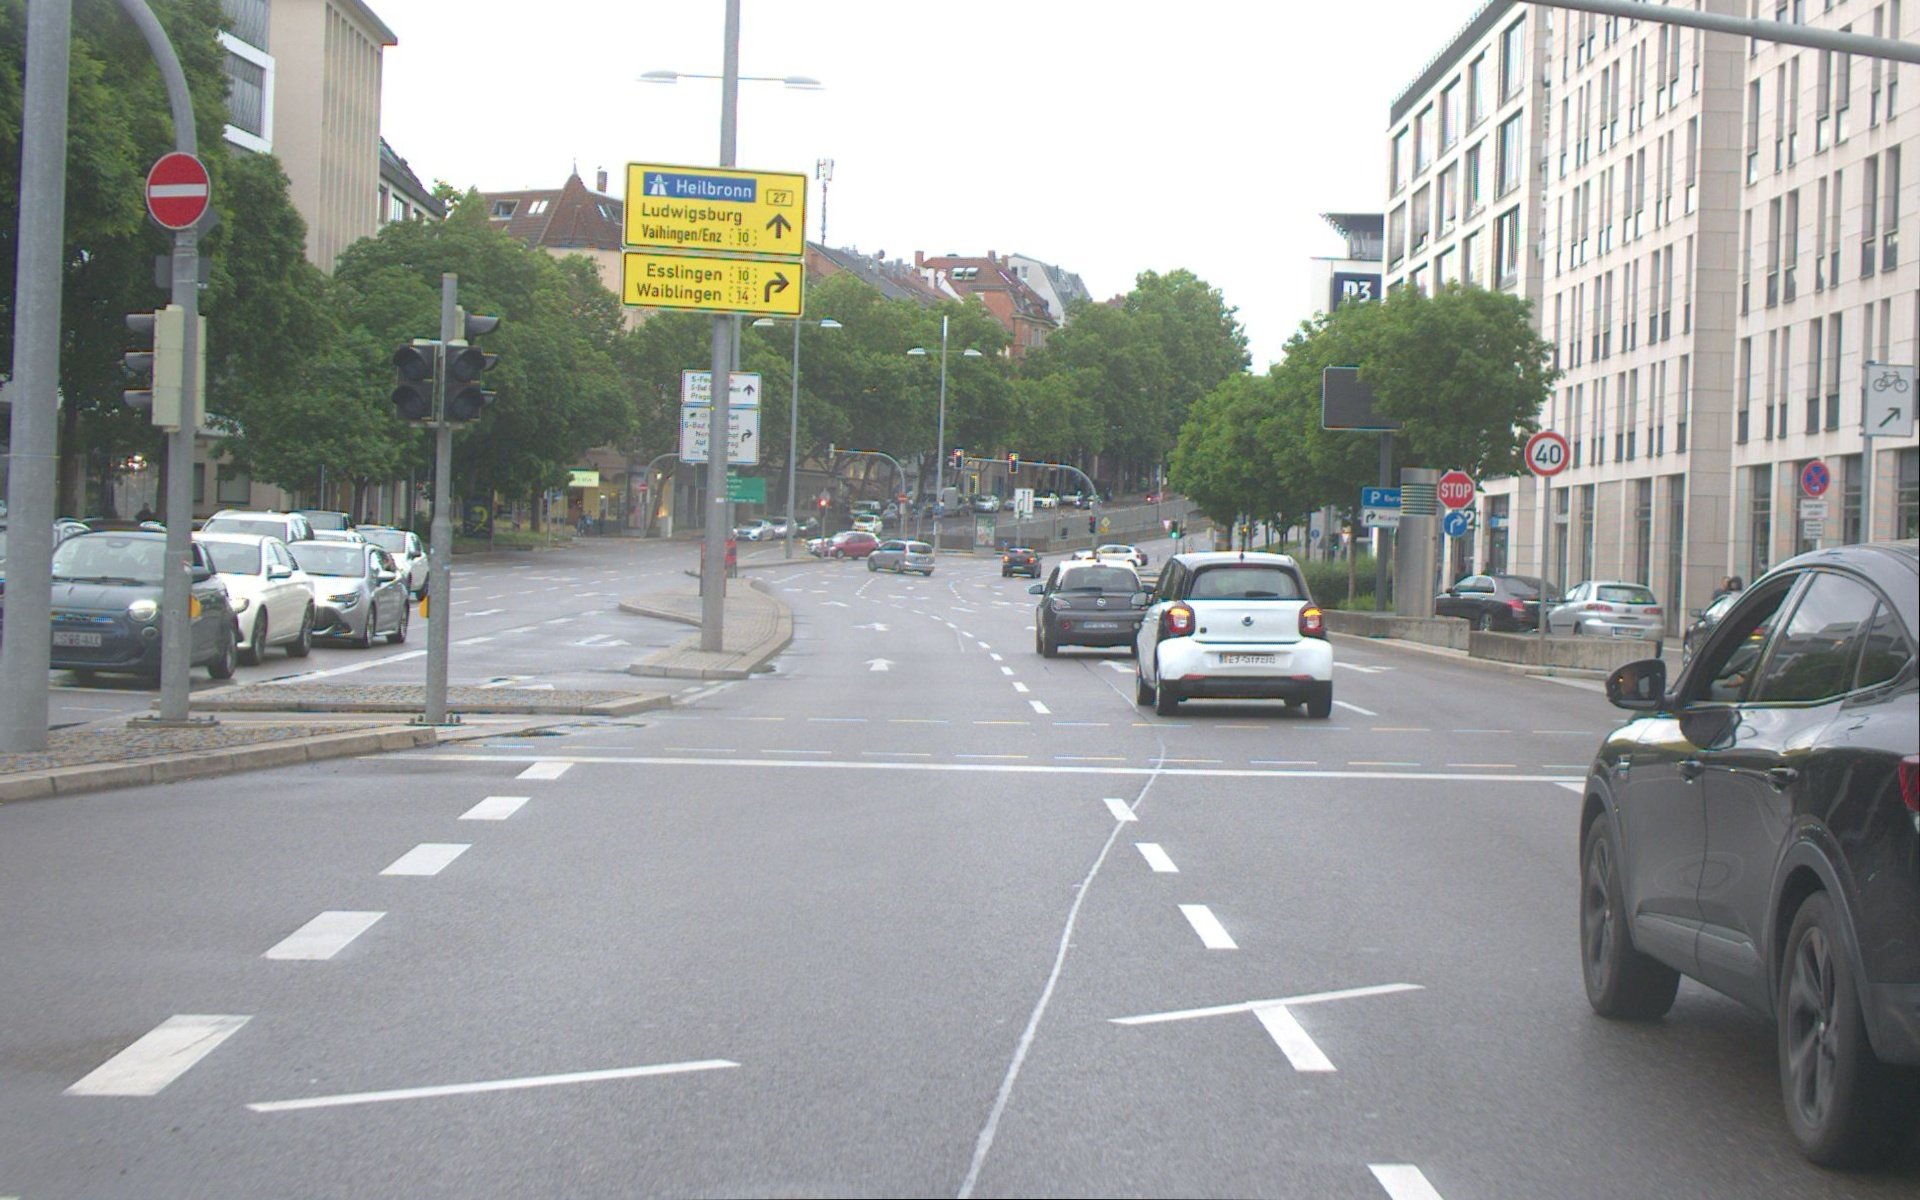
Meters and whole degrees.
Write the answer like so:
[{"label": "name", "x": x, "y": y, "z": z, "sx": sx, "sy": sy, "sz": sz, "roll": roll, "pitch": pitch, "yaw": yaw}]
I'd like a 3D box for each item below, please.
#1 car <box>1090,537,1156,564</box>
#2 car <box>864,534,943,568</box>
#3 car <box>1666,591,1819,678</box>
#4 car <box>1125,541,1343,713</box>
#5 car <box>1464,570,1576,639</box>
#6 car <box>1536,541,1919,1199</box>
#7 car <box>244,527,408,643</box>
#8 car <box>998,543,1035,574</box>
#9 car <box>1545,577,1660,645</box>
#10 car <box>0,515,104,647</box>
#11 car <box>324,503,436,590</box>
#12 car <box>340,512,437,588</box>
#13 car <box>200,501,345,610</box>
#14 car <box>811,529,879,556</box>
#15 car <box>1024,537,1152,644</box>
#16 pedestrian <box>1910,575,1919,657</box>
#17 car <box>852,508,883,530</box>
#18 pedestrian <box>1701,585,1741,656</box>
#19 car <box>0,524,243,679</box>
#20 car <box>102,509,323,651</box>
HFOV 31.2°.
[{"label": "car", "x": 9.741, "y": -2.937, "z": 205.320, "sx": 3.803, "sy": 1.526, "sz": 1.745, "roll": 1, "pitch": 1, "yaw": 8}, {"label": "car", "x": -2.723, "y": -2.335, "z": 164.025, "sx": 1.740, "sy": 1.526, "sz": 3.813, "roll": 0, "pitch": 2, "yaw": -39}, {"label": "car", "x": 12.022, "y": 0.510, "z": 52.983, "sx": 1.506, "sy": 1.261, "sz": 3.502, "roll": 1, "pitch": 0, "yaw": -1}, {"label": "car", "x": 2.579, "y": 0.237, "z": 33.113, "sx": 1.724, "sy": 1.526, "sz": 3.814, "roll": 1, "pitch": 0, "yaw": -1}, {"label": "car", "x": 11.731, "y": 0.081, "z": 72.246, "sx": 1.661, "sy": 1.396, "sz": 3.832, "roll": 1, "pitch": 0, "yaw": -1}, {"label": "car", "x": 2.919, "y": 0.627, "z": 9.603, "sx": 1.791, "sy": 1.501, "sz": 4.339, "roll": 1, "pitch": 2, "yaw": -1}, {"label": "car", "x": -8.546, "y": -0.204, "z": 46.580, "sx": 1.538, "sy": 1.472, "sz": 3.696, "roll": 1, "pitch": 0, "yaw": -1}, {"label": "car", "x": 2.831, "y": -2.092, "z": 173.434, "sx": 1.740, "sy": 1.526, "sz": 3.814, "roll": 1, "pitch": 0, "yaw": -1}, {"label": "car", "x": 12.460, "y": 0.193, "z": 66.808, "sx": 1.506, "sy": 1.261, "sz": 3.502, "roll": 1, "pitch": 0, "yaw": -1}, {"label": "car", "x": -11.808, "y": -0.248, "z": 42.171, "sx": 1.743, "sy": 1.553, "sz": 3.540, "roll": 1, "pitch": 0, "yaw": -1}, {"label": "car", "x": -12.065, "y": -1.098, "z": 71.640, "sx": 1.743, "sy": 1.742, "sz": 3.540, "roll": 1, "pitch": 0, "yaw": -1}, {"label": "car", "x": -13.766, "y": -1.194, "z": 82.987, "sx": 1.743, "sy": 1.742, "sz": 3.540, "roll": 1, "pitch": 0, "yaw": -1}, {"label": "car", "x": -11.548, "y": -0.739, "z": 57.950, "sx": 1.743, "sy": 1.742, "sz": 3.540, "roll": 1, "pitch": 0, "yaw": -1}, {"label": "car", "x": -6.882, "y": -3.424, "z": 205.784, "sx": 3.800, "sy": 1.526, "sz": 1.746, "roll": 1, "pitch": 1, "yaw": -11}, {"label": "car", "x": 1.910, "y": -0.153, "z": 52.311, "sx": 1.740, "sy": 1.526, "sz": 3.814, "roll": 1, "pitch": 0, "yaw": -1}, {"label": "pedestrian", "x": 18.320, "y": 0.303, "z": 64.671, "sx": 0.674, "sy": 1.523, "sz": 0.726, "roll": 1, "pitch": 0, "yaw": -1}, {"label": "car", "x": -6.652, "y": -5.804, "z": 247.009, "sx": 1.740, "sy": 1.526, "sz": 3.813, "roll": 1, "pitch": 1, "yaw": 6}, {"label": "pedestrian", "x": 16.508, "y": 0.434, "z": 74.566, "sx": 0.674, "sy": 1.523, "sz": 0.726, "roll": 1, "pitch": 0, "yaw": -1}, {"label": "car", "x": -8.382, "y": 0.006, "z": 34.327, "sx": 1.743, "sy": 1.439, "sz": 3.395, "roll": 1, "pitch": 0, "yaw": -1}, {"label": "car", "x": -8.758, "y": -0.232, "z": 40.606, "sx": 1.702, "sy": 1.553, "sz": 4.245, "roll": 1, "pitch": 0, "yaw": -1}]
